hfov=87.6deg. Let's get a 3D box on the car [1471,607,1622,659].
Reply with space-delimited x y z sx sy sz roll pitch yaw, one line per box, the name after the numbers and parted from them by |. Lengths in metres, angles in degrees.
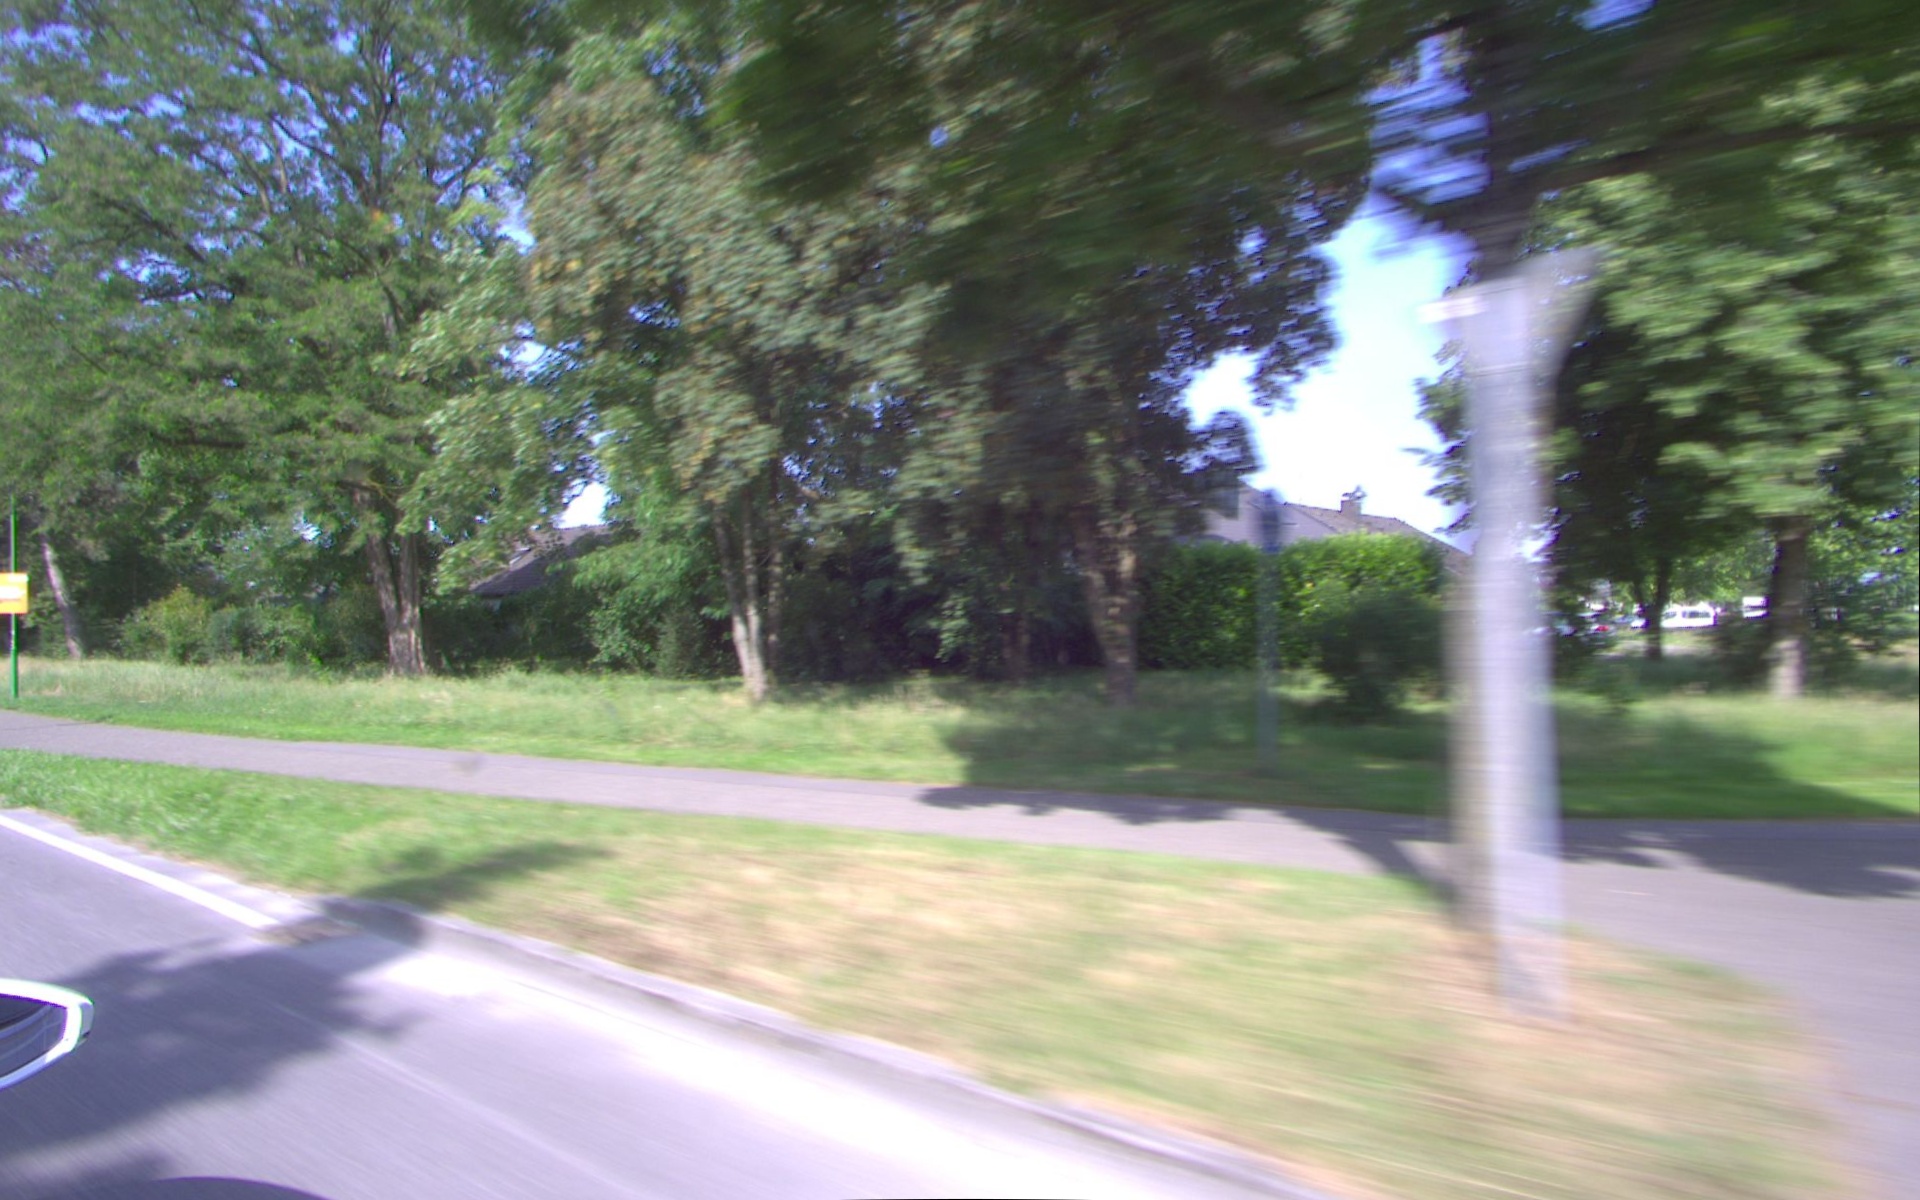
19.682 1.100 33.708 1.857 1.644 4.036 0 -1 -41 | car
